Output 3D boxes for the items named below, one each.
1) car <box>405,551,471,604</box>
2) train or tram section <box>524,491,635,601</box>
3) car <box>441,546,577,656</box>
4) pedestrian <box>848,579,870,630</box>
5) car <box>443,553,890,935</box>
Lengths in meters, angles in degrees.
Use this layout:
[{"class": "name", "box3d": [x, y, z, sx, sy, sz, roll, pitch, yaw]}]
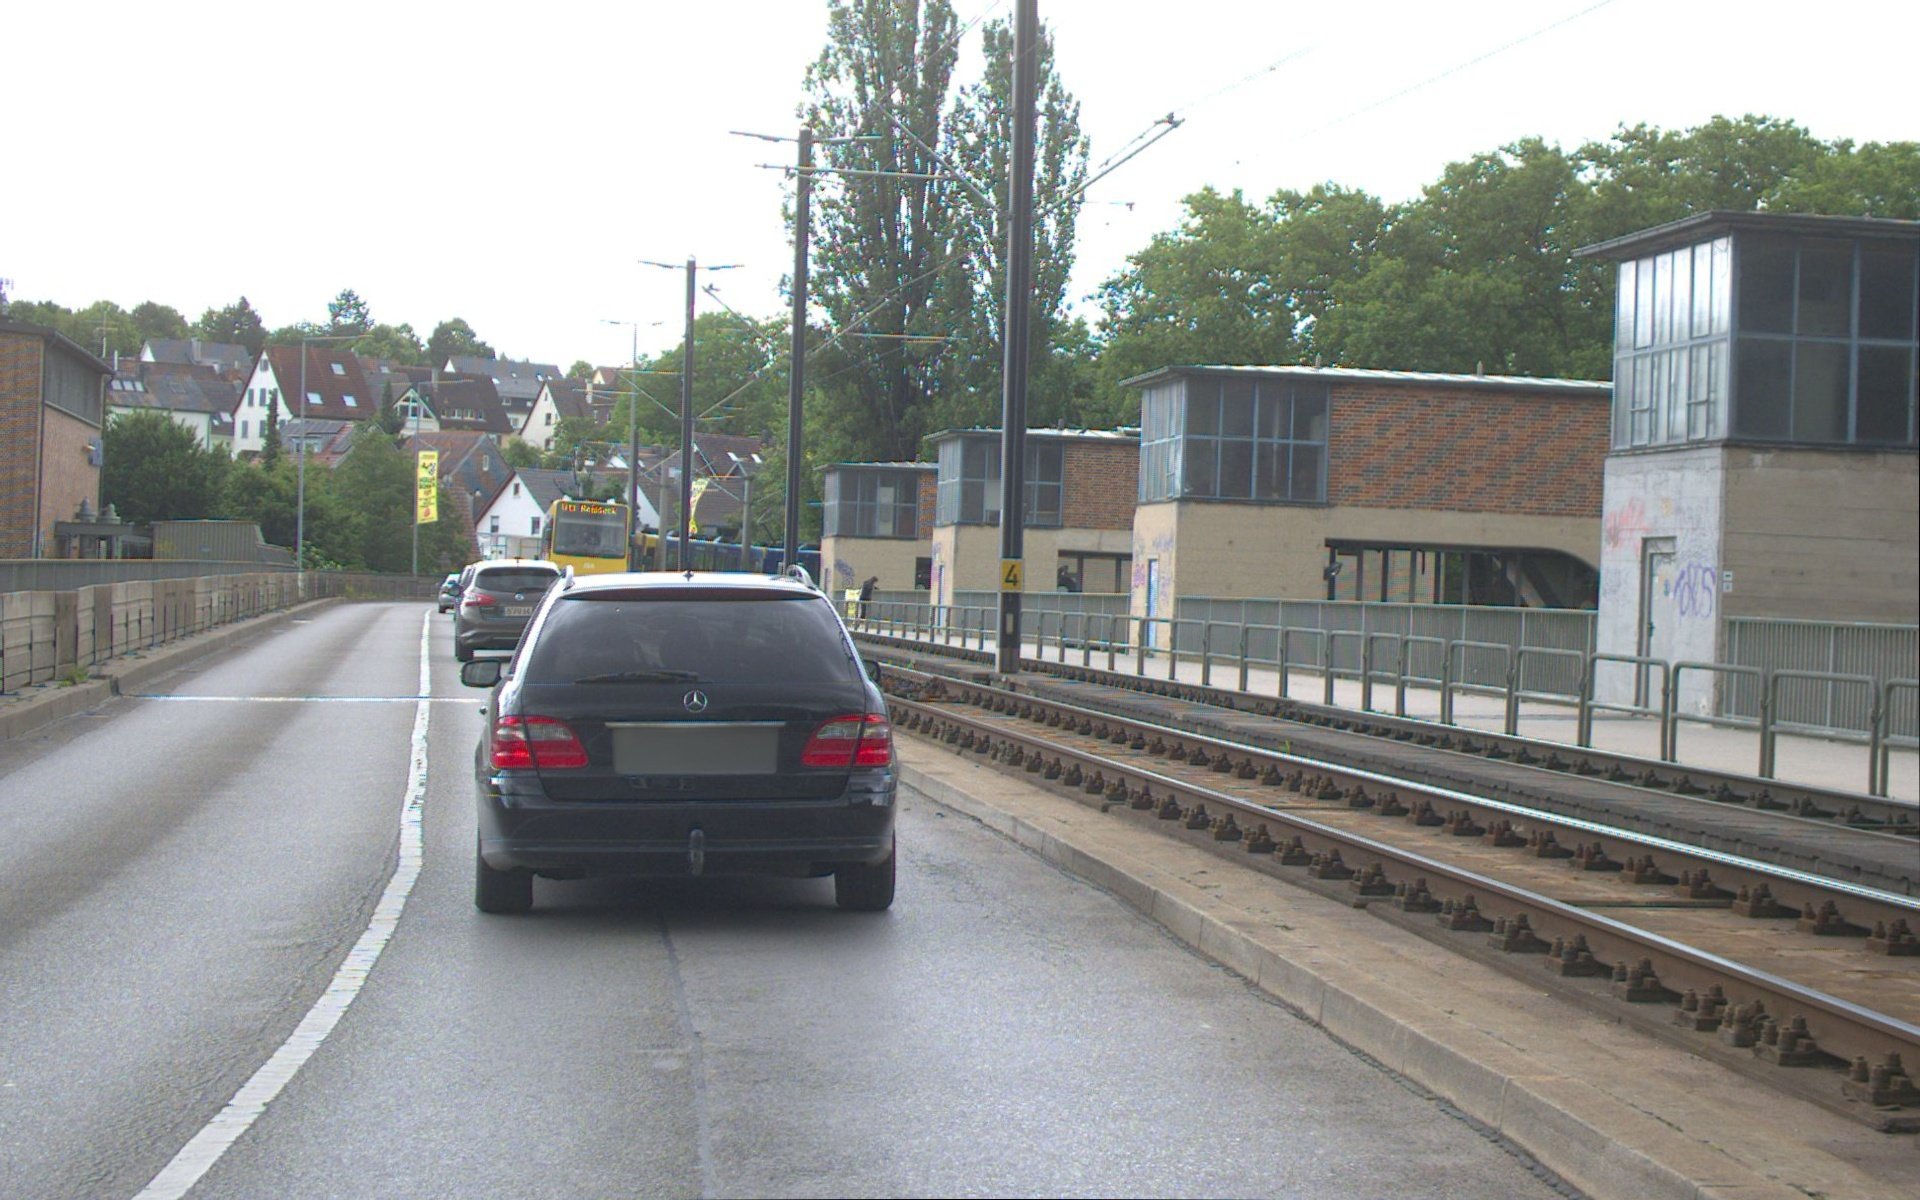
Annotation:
[{"class": "car", "box3d": [-16.904, -0.743, 111.261, 1.993, 1.565, 4.907, 3, 1, -9]}, {"class": "train or tram section", "box3d": [-13.300, -1.845, 118.799, 2.881, 3.497, 18.672, 0, 1, -9]}, {"class": "car", "box3d": [-6.896, -0.014, 52.272, 1.770, 1.550, 4.242, 2, 1, -11]}, {"class": "pedestrian", "box3d": [-3.164, 0.140, 107.913, 0.577, 1.604, 0.613, 2, 0, -8]}, {"class": "car", "box3d": [-1.435, 0.564, 15.914, 1.758, 1.510, 4.443, 1, 0, -7]}]
